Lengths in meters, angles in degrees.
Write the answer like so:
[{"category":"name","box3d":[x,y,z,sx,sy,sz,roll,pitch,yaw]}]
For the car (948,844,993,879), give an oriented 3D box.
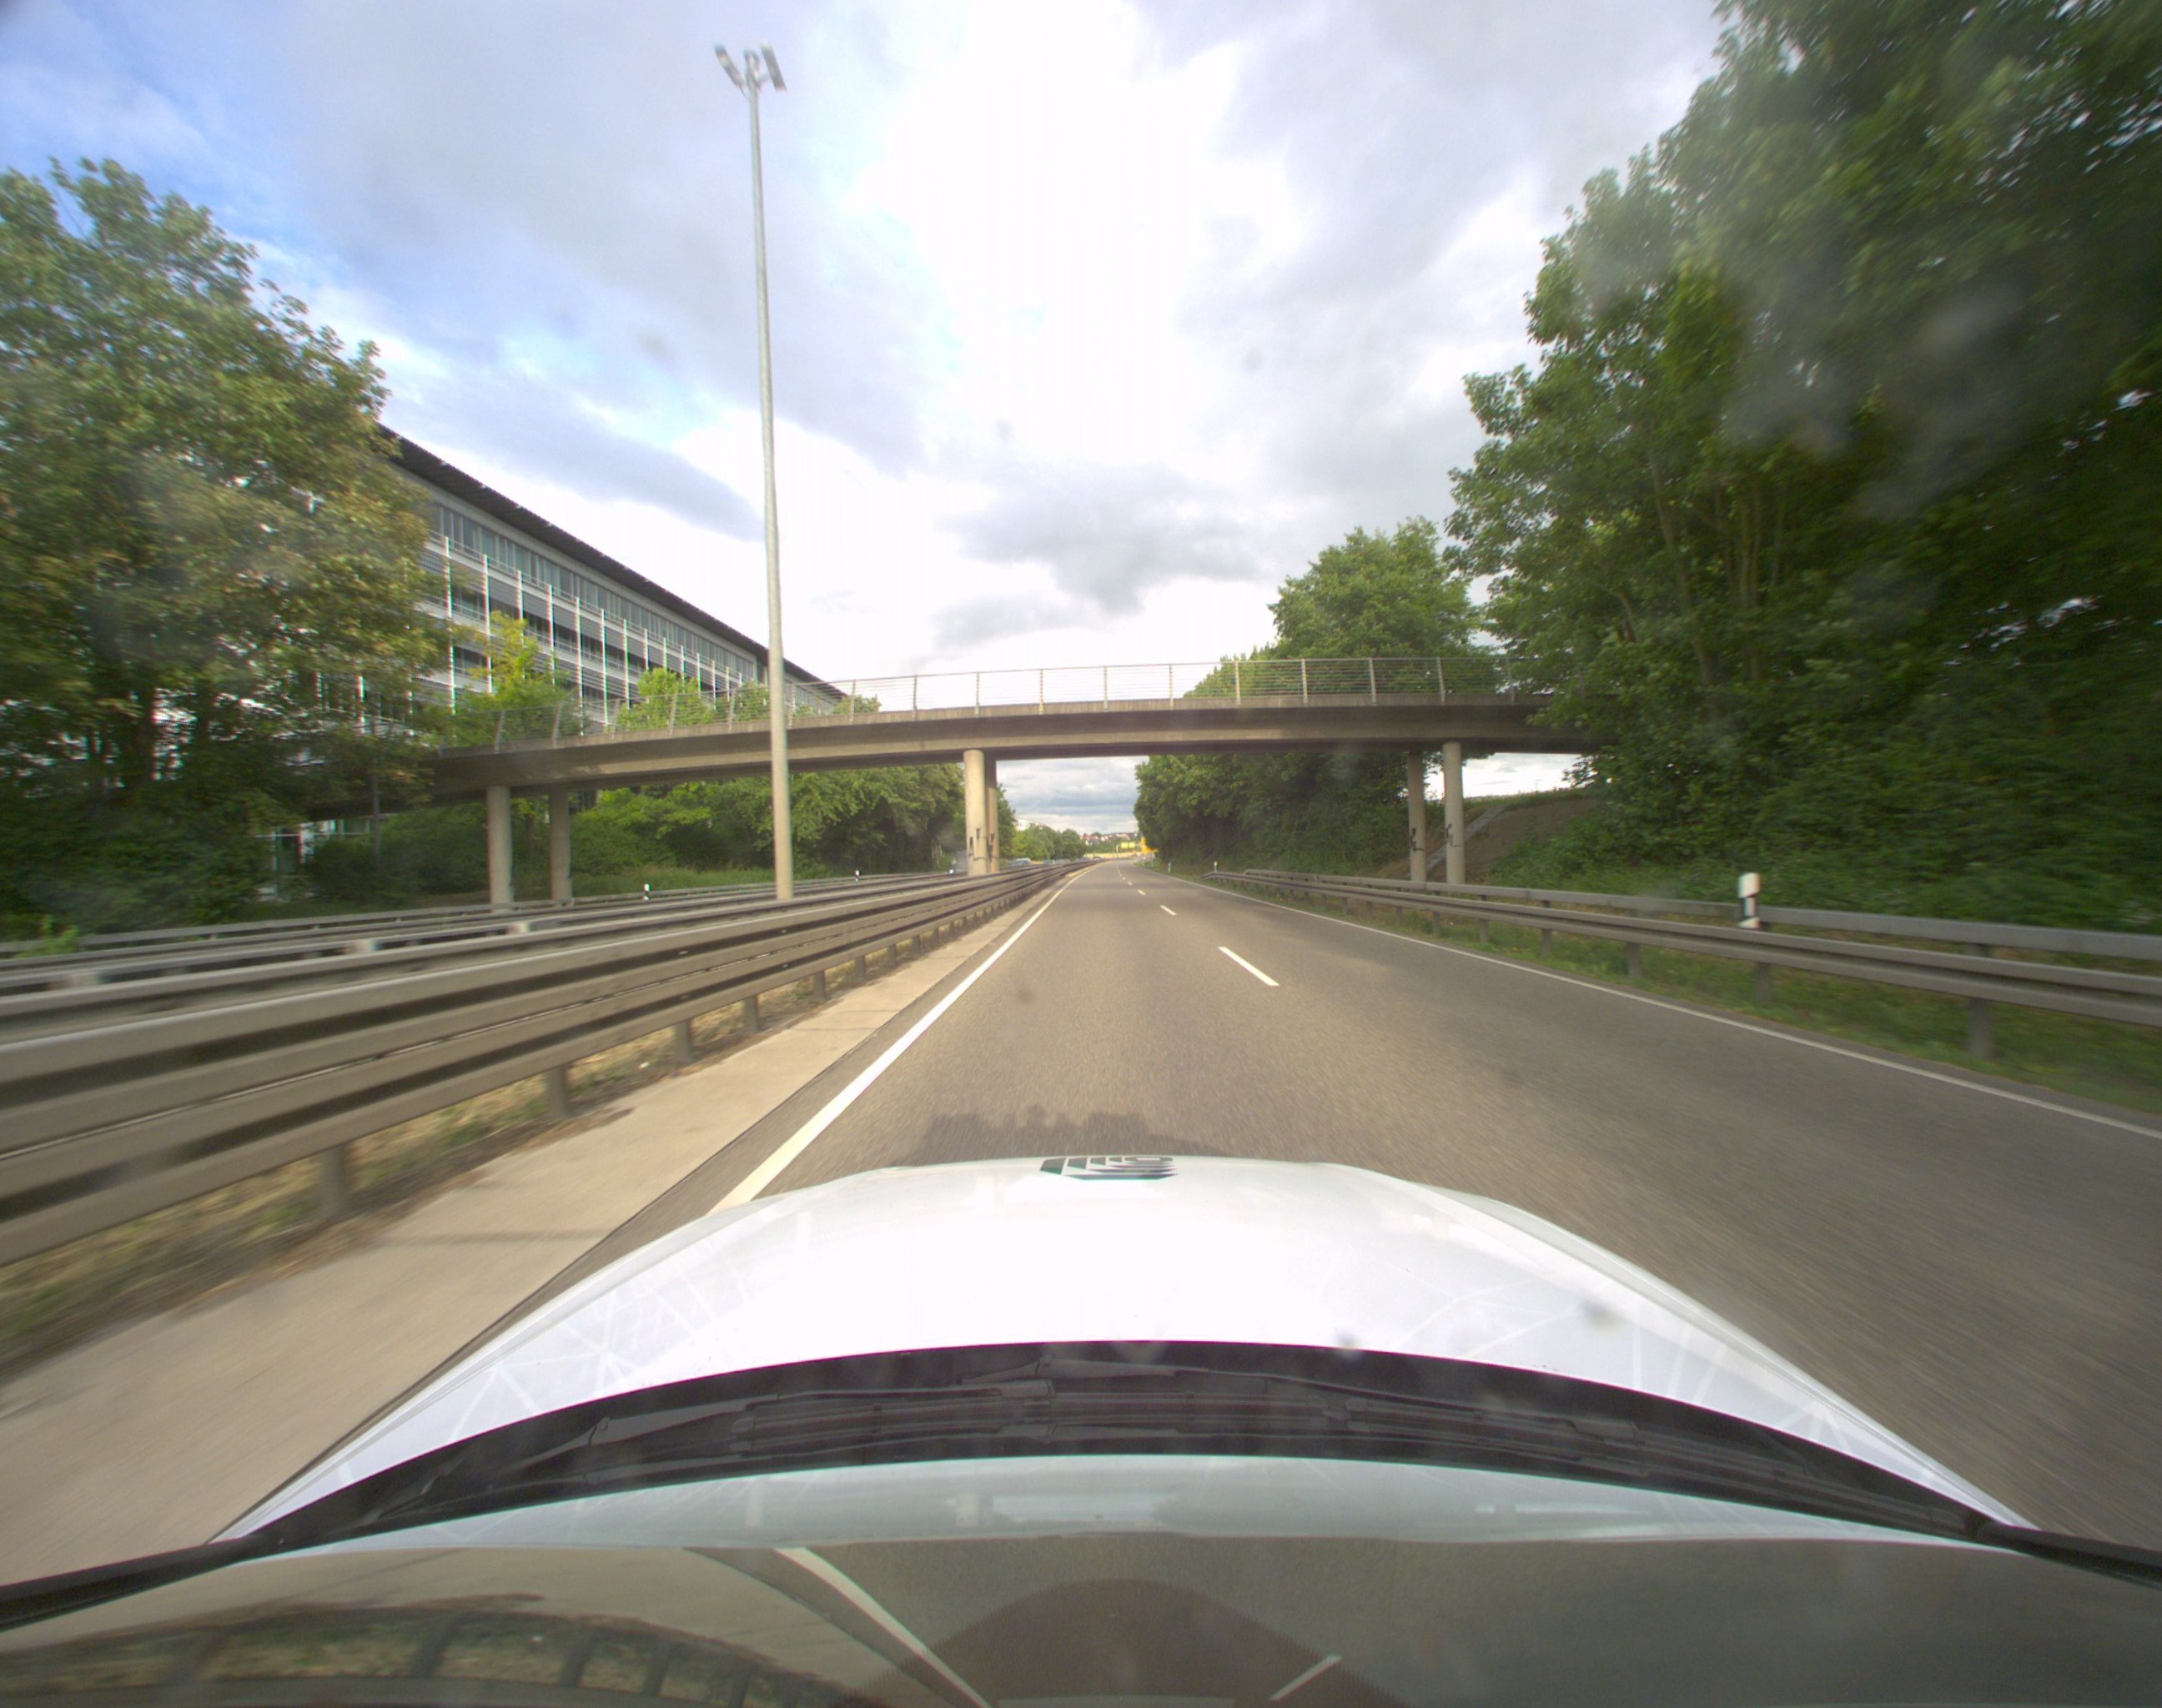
[{"category":"car","box3d":[-8.529,0.545,63.404,2.241,2.537,6.944,-1,0,2]}]
